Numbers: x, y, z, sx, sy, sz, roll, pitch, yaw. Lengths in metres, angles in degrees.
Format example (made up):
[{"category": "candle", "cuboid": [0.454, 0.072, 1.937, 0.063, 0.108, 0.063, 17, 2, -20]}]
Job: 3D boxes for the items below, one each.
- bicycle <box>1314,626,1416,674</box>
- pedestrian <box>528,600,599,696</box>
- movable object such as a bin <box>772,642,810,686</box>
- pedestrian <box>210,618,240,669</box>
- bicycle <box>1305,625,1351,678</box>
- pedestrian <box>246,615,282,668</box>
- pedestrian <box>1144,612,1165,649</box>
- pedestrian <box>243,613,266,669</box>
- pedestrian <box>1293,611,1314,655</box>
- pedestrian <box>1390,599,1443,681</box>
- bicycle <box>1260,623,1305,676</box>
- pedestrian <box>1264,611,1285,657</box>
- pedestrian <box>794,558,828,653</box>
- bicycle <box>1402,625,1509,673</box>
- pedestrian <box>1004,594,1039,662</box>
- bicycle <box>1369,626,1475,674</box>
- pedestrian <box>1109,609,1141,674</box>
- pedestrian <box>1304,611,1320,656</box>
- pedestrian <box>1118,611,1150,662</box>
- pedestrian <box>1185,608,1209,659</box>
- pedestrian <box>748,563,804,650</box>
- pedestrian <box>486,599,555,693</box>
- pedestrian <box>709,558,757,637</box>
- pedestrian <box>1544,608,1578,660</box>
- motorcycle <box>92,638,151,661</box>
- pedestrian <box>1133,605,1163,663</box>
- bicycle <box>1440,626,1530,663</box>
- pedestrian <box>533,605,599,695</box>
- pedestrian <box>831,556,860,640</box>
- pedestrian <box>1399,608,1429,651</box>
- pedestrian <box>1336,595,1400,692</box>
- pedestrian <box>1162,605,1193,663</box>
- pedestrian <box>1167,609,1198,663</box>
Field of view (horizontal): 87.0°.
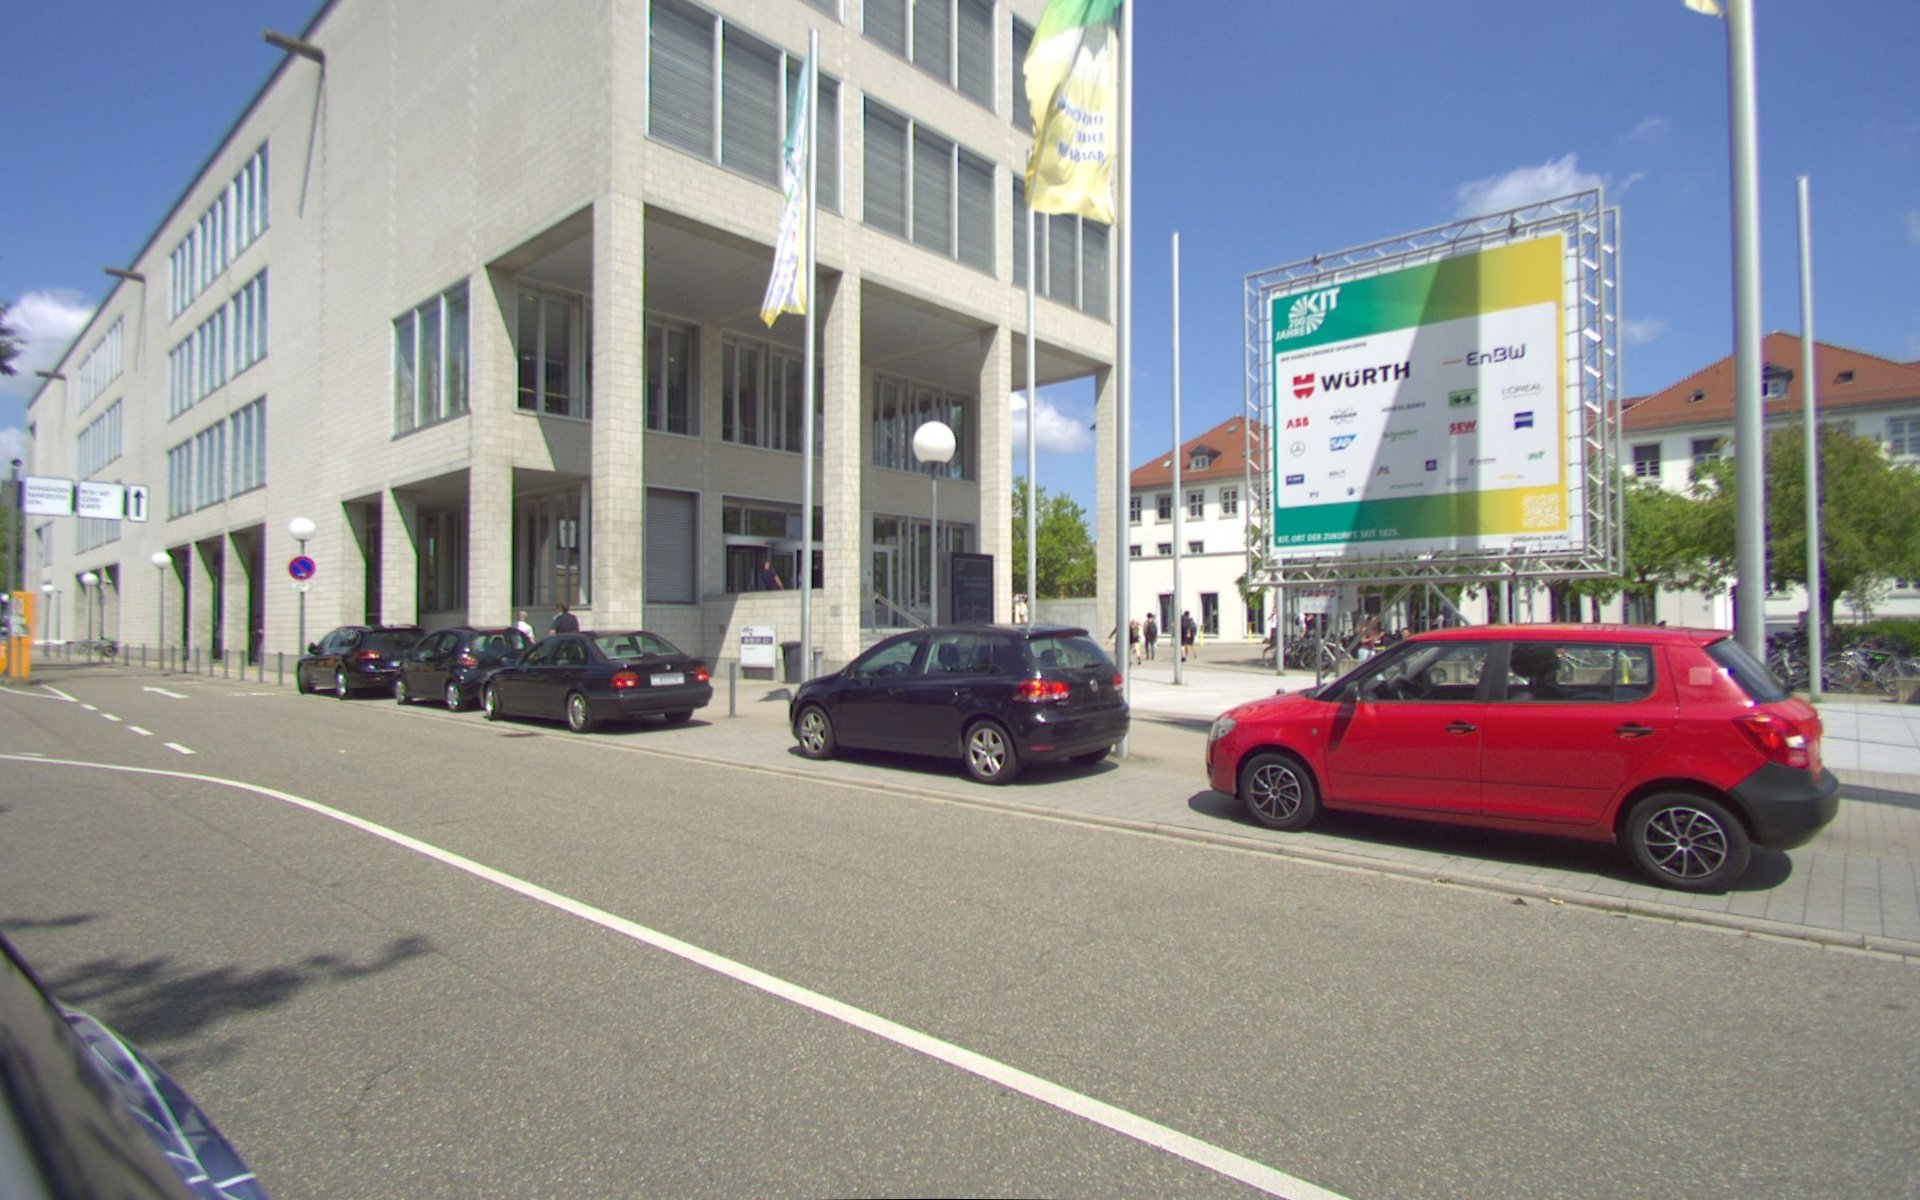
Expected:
[{"category": "bicycle", "cuboid": [12.745, 1.555, 31.973, 1.128, 1.422, 2.961, 0, -1, -26]}, {"category": "pedestrian", "cuboid": [-8.630, 1.029, 22.037, 1.163, 2.029, 0.974, -2, -2, 38]}, {"category": "movable object such as a bin", "cuboid": [-3.740, 1.406, 22.392, 0.595, 0.937, 0.569, -2, -2, 42]}, {"category": "pedestrian", "cuboid": [-29.980, 1.748, 41.258, 0.881, 2.029, 0.847, -2, -2, 44]}, {"category": "bicycle", "cuboid": [10.449, 1.429, 28.808, 1.139, 1.422, 2.932, -1, -1, 19]}, {"category": "pedestrian", "cuboid": [-27.089, 1.612, 39.391, 1.065, 2.029, 0.839, -2, -3, 40]}, {"category": "pedestrian", "cuboid": [10.839, 1.679, 56.409, 0.875, 2.029, 0.739, 0, -1, -20]}, {"category": "pedestrian", "cuboid": [-26.131, 1.510, 37.468, 0.835, 2.029, 0.537, -2, -2, 45]}, {"category": "pedestrian", "cuboid": [17.664, 1.710, 52.056, 0.956, 2.217, 0.965, -1, -2, 19]}, {"category": "pedestrian", "cuboid": [11.239, 0.975, 24.929, 0.944, 1.955, 0.975, -2, -2, 39]}, {"category": "bicycle", "cuboid": [9.356, 1.392, 29.242, 1.139, 1.422, 2.932, -1, -1, 19]}, {"category": "pedestrian", "cuboid": [14.240, 1.541, 45.833, 0.752, 2.029, 0.734, -1, -1, 9]}, {"category": "pedestrian", "cuboid": [-3.889, 0.143, 26.440, 0.750, 2.440, 0.737, 0, -2, 3]}, {"category": "bicycle", "cuboid": [15.633, 1.512, 32.046, 1.128, 1.422, 2.961, 0, -1, -26]}, {"category": "pedestrian", "cuboid": [1.642, 0.741, 26.973, 0.753, 1.770, 0.733, -1, -2, 18]}, {"category": "bicycle", "cuboid": [14.393, 1.532, 31.666, 1.128, 1.422, 2.961, 0, -1, -26]}, {"category": "pedestrian", "cuboid": [4.587, 1.148, 28.072, 0.754, 1.770, 0.733, -1, -2, 19]}, {"category": "pedestrian", "cuboid": [17.402, 1.672, 50.072, 0.674, 2.217, 0.620, -1, -2, 18]}, {"category": "pedestrian", "cuboid": [5.729, 1.190, 33.308, 0.721, 1.626, 0.738, 0, -2, -37]}, {"category": "pedestrian", "cuboid": [8.640, 1.217, 36.908, 0.752, 1.851, 0.698, -1, -1, 8]}, {"category": "pedestrian", "cuboid": [-4.403, 0.168, 24.182, 0.910, 2.029, 0.967, -2, -2, 42]}, {"category": "pedestrian", "cuboid": [-9.819, 1.006, 22.603, 1.163, 2.029, 0.974, -2, -2, 38]}, {"category": "pedestrian", "cuboid": [-5.961, -0.051, 26.612, 0.974, 2.029, 0.740, -1, -1, 22]}, {"category": "pedestrian", "cuboid": [25.850, 1.459, 43.516, 1.041, 2.217, 1.010, -2, -3, 41]}, {"category": "motorcycle", "cuboid": [-42.693, 2.505, 51.554, 0.772, 1.146, 2.149, -2, -2, 32]}, {"category": "pedestrian", "cuboid": [6.766, 1.214, 36.394, 0.748, 2.029, 0.738, 0, -1, -34]}, {"category": "bicycle", "cuboid": [20.774, 1.737, 40.091, 1.130, 1.422, 2.956, 0, -1, -40]}, {"category": "pedestrian", "cuboid": [-9.148, 1.141, 23.497, 1.163, 2.029, 0.974, -2, -2, 38]}, {"category": "pedestrian", "cuboid": [-3.002, -0.046, 26.416, 0.694, 2.161, 0.806, 0, -1, -9]}, {"category": "pedestrian", "cuboid": [21.701, 1.399, 48.333, 1.043, 2.029, 0.923, 1, -2, -40]}, {"category": "pedestrian", "cuboid": [8.805, 0.924, 21.836, 0.987, 2.029, 1.046, -2, -2, 39]}, {"category": "pedestrian", "cuboid": [7.785, 1.201, 36.240, 0.748, 2.029, 0.738, 0, -1, -34]}, {"category": "pedestrian", "cuboid": [7.466, 1.210, 33.986, 0.738, 1.787, 0.749, -2, -2, 41]}]
